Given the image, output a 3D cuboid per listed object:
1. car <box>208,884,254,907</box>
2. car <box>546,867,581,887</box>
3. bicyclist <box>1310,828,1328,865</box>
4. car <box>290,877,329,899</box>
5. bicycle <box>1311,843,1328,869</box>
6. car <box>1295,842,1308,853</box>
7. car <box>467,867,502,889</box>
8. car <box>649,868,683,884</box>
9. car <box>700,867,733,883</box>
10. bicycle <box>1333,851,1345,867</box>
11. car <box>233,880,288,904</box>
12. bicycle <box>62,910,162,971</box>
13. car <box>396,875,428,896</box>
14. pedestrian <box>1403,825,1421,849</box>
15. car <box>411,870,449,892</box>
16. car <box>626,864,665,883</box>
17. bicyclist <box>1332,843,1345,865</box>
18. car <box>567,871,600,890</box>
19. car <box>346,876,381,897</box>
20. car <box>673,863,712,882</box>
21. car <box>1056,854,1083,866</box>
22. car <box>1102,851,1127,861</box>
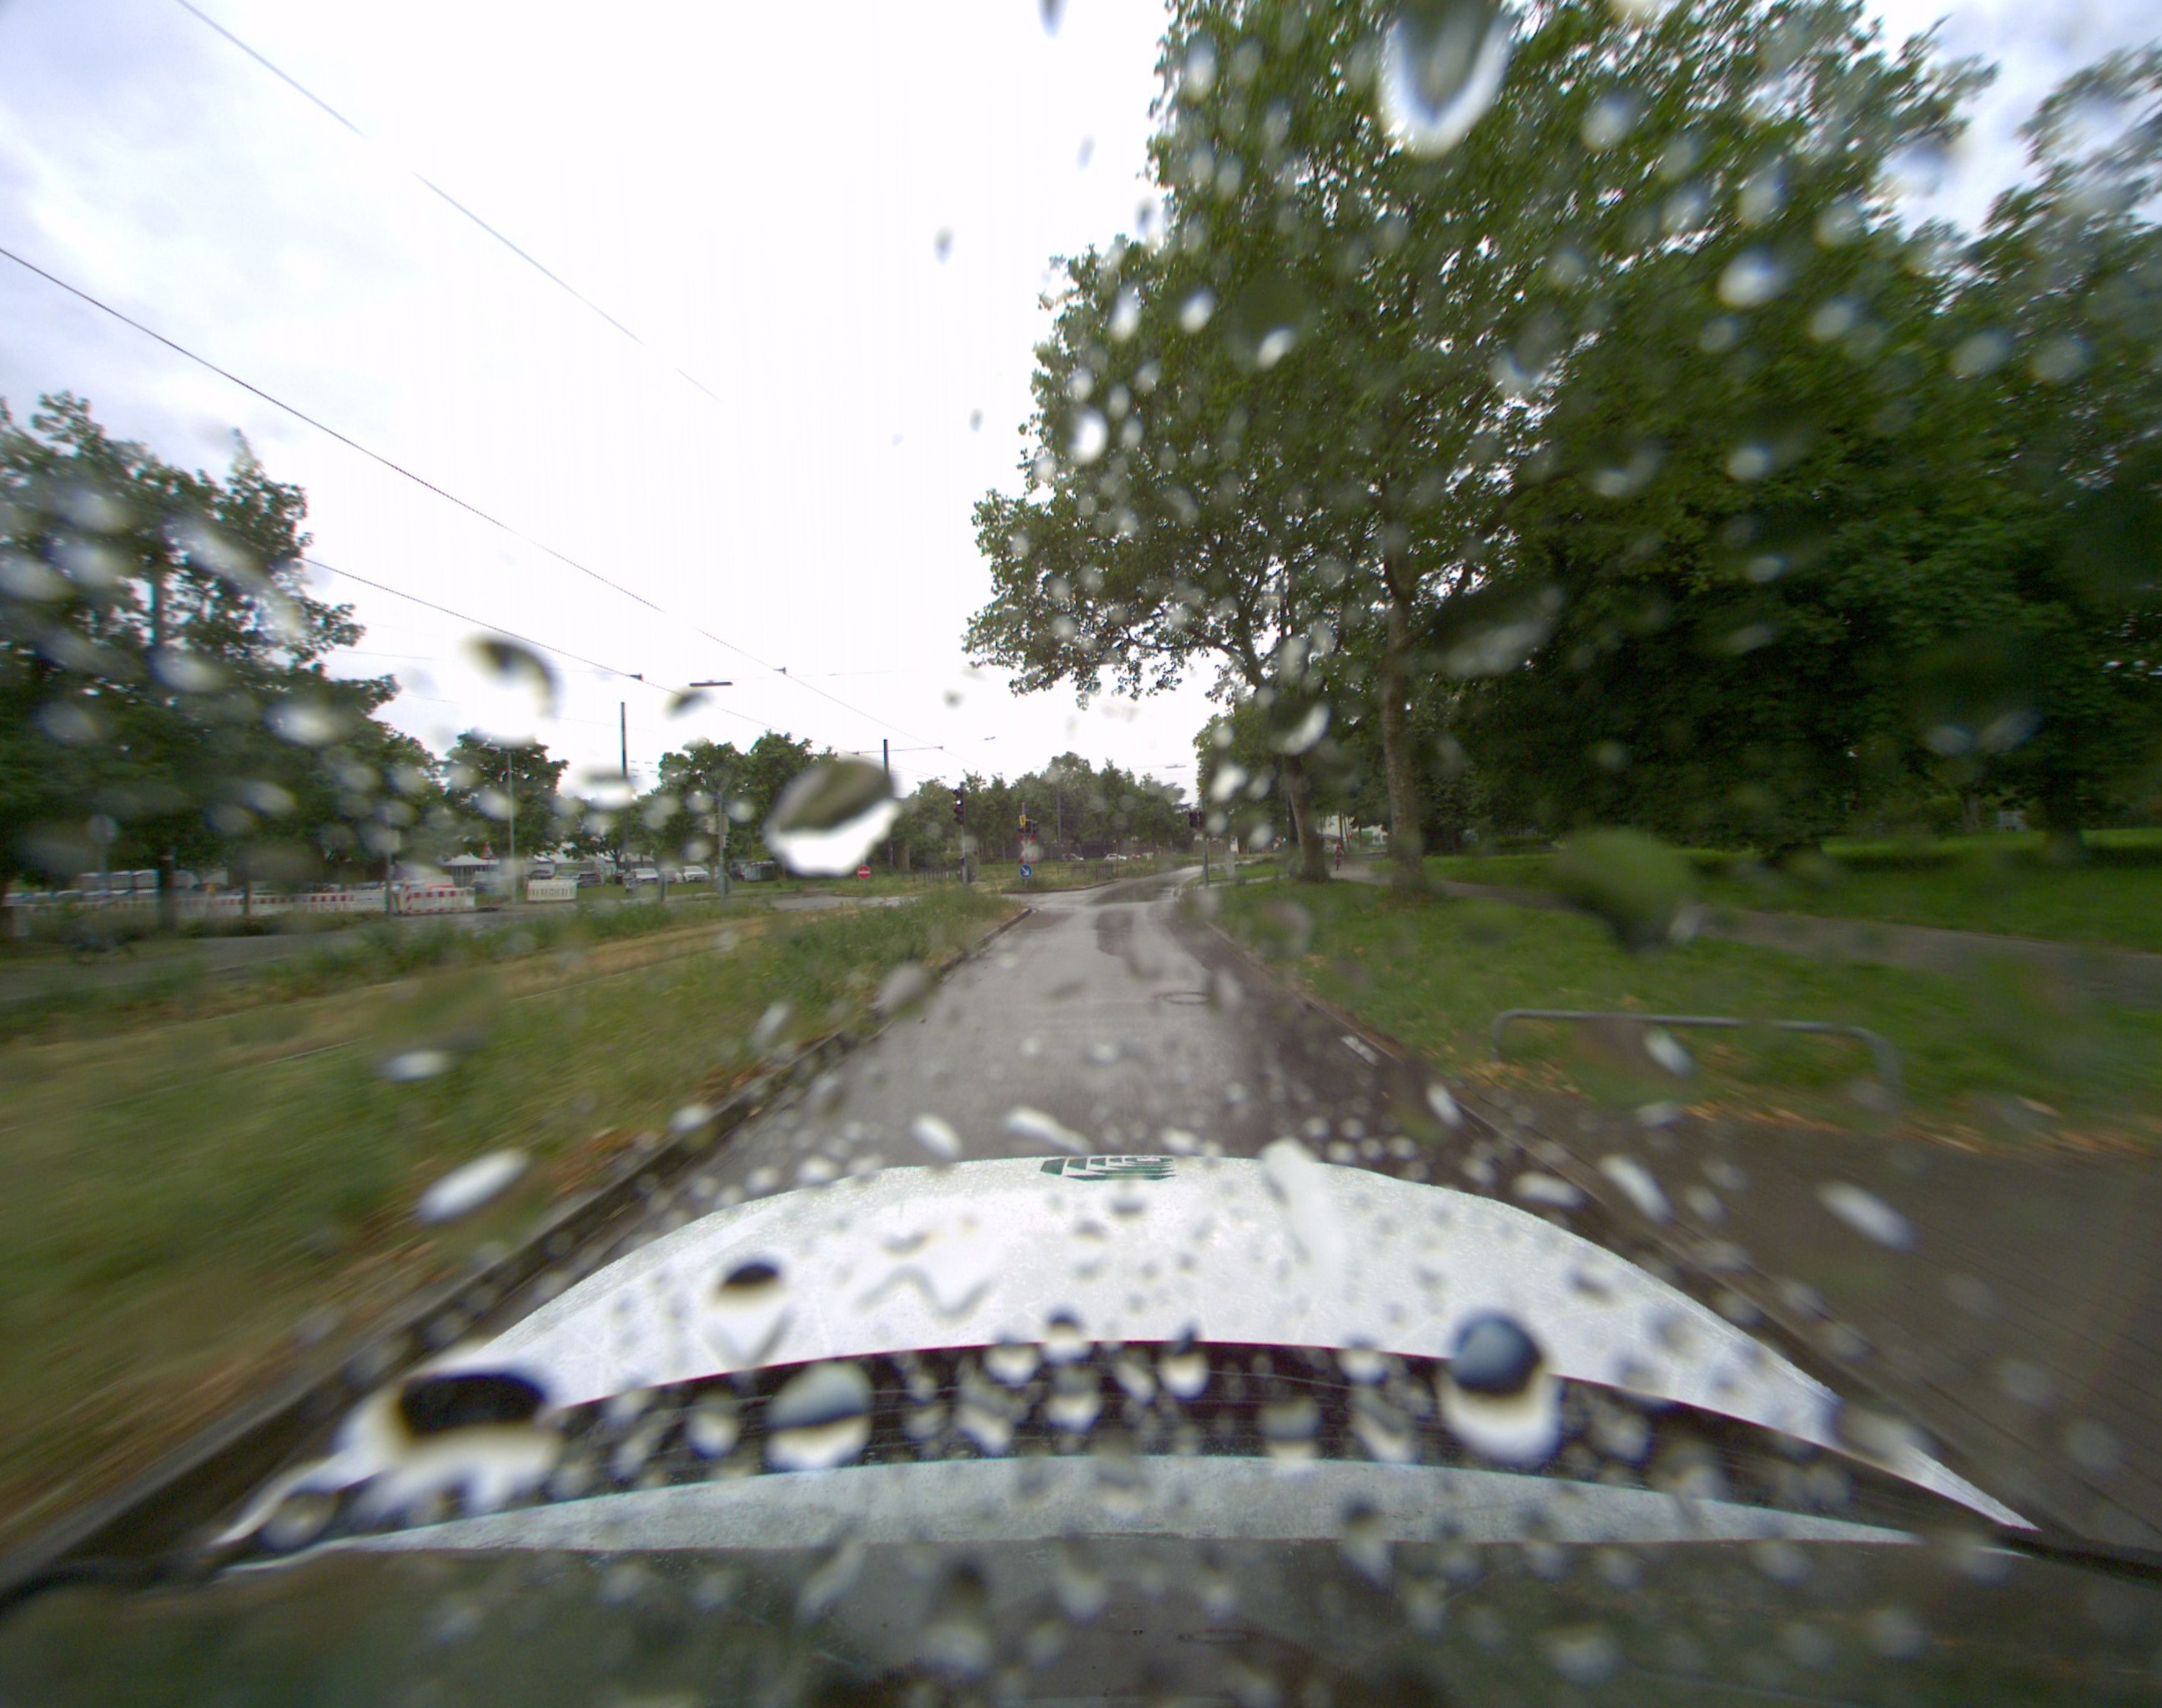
[{"bbox_3d":[-55.409,2.674,53.135,1.674,1.325,3.698,-3,0,-40],"label":"car"},{"bbox_3d":[-35.116,1.545,55.204,1.673,1.249,3.700,-3,0,-37],"label":"car"},{"bbox_3d":[11.299,-0.355,38.676,0.706,1.721,0.962,-2,1,17],"label":"bicyclist"},{"bbox_3d":[-52.725,2.330,55.712,1.674,1.325,3.698,-3,0,-40],"label":"car"},{"bbox_3d":[11.319,0.092,38.675,0.706,1.142,1.981,-2,1,17],"label":"bicycle"},{"bbox_3d":[32.082,-0.923,118.331,1.670,1.420,3.833,-3,0,17],"label":"car"},{"bbox_3d":[-38.009,1.539,51.878,1.673,1.249,3.700,-3,0,-37],"label":"car"},{"bbox_3d":[-34.936,1.873,68.537,1.674,1.249,3.698,-3,0,-40],"label":"car"},{"bbox_3d":[-32.049,1.868,71.641,1.674,1.249,3.698,-3,0,-40],"label":"car"},{"bbox_3d":[12.152,0.242,38.398,0.483,0.708,1.464,-3,1,16],"label":"bicycle"},{"bbox_3d":[-46.386,2.124,46.102,1.673,1.249,3.700,-3,0,-37],"label":"car"},{"bbox_3d":[-19.330,1.687,16.291,0.483,1.019,1.827,1,0,-23],"label":"bicycle"},{"bbox_3d":[-48.122,2.259,58.581,1.674,1.325,3.698,-3,0,-40],"label":"car"},{"bbox_3d":[24.316,-1.270,59.859,1.021,1.694,0.860,-3,0,34],"label":"pedestrian"},{"bbox_3d":[-40.205,1.652,50.369,1.673,1.249,3.700,-3,0,-37],"label":"car"},{"bbox_3d":[-30.686,1.392,57.361,1.674,1.249,3.698,-3,0,-40],"label":"car"},{"bbox_3d":[12.108,0.000,38.299,0.483,1.038,0.594,-3,1,16],"label":"bicyclist"},{"bbox_3d":[-39.761,2.126,65.088,1.674,1.325,3.698,-3,0,-40],"label":"car"},{"bbox_3d":[-50.146,2.274,56.975,1.674,1.325,3.698,-3,0,-40],"label":"car"},{"bbox_3d":[-28.521,1.370,59.744,1.674,1.249,3.698,-3,0,-40],"label":"car"},{"bbox_3d":[-1.976,1.015,141.078,4.174,1.796,1.660,-2,1,19],"label":"car"},{"bbox_3d":[5.699,0.286,138.469,4.033,1.499,1.660,-3,0,18],"label":"car"}]
